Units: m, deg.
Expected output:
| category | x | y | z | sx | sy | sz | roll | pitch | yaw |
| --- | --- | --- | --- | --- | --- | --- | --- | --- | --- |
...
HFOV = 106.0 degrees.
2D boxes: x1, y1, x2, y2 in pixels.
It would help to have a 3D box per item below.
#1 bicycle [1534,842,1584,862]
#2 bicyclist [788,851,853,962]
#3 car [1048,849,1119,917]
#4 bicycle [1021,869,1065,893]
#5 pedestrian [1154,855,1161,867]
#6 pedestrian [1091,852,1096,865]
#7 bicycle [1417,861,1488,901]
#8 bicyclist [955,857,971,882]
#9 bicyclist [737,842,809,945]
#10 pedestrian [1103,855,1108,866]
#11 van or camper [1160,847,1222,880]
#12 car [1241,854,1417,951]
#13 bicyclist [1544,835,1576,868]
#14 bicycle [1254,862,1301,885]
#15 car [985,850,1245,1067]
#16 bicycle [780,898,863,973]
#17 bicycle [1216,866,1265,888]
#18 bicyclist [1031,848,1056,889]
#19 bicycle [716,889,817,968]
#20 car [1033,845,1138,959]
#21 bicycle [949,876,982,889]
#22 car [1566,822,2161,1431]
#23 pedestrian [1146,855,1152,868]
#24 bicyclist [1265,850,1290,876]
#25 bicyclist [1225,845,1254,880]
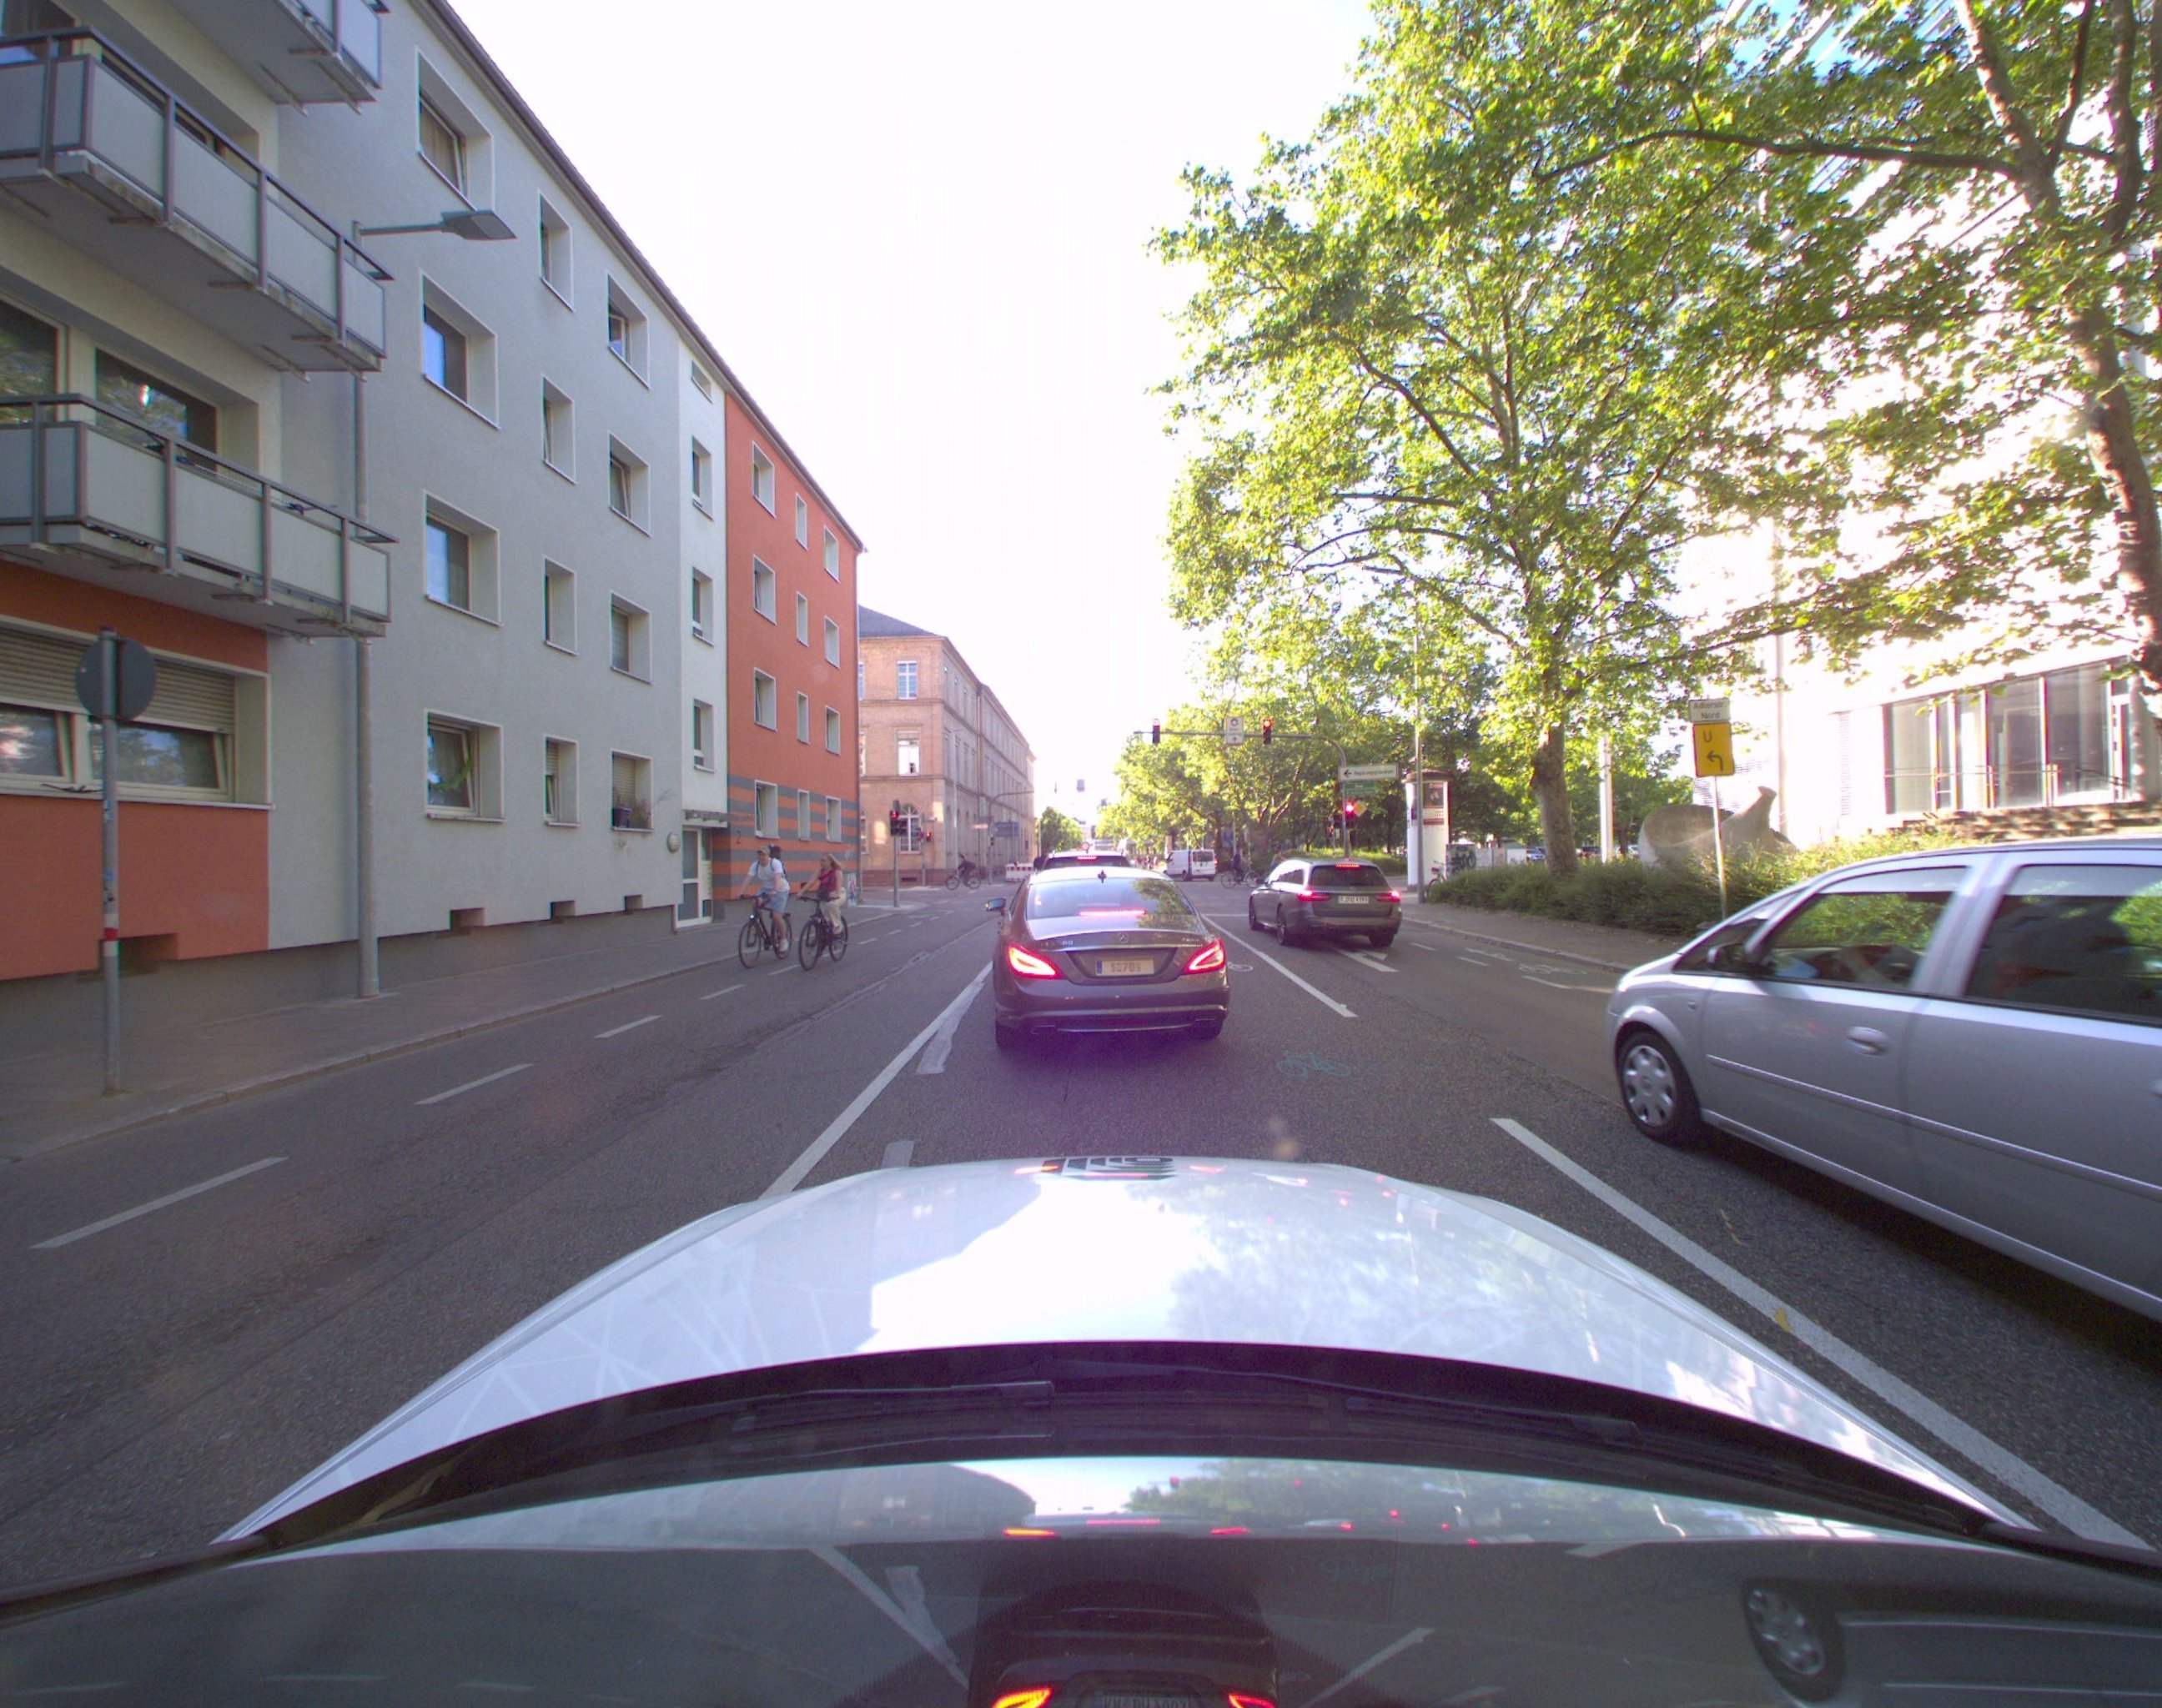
| category | x | y | z | sx | sy | sz | roll | pitch | yaw |
| --- | --- | --- | --- | --- | --- | --- | --- | --- | --- |
| bicycle | 22.391 | -0.090 | 38.172 | 1.884 | 0.882 | 0.726 | 0 | 0 | 5 |
| bicyclist | -3.881 | 0.754 | 12.192 | 0.683 | 1.578 | 0.980 | -1 | 0 | -4 |
| car | 0.129 | 0.764 | 23.393 | 1.813 | 1.762 | 4.002 | -1 | 0 | 2 |
| bicycle | -1.574 | 1.112 | 33.690 | 1.791 | 0.946 | 0.613 | -1 | 0 | -5 |
| pedestrian | 8.696 | 0.796 | 92.678 | 0.646 | 1.433 | 0.659 | -1 | 0 | 1 |
| pedestrian | 1.850 | 0.647 | 124.007 | 0.718 | 1.902 | 0.704 | -1 | 0 | 1 |
| bicycle | 10.713 | 0.773 | 23.498 | 1.796 | 1.097 | 0.510 | -1 | 0 | 4 |
| bicyclist | -5.988 | 0.787 | 41.439 | 0.701 | 1.260 | 0.458 | -1 | 0 | 5 |
| bicyclist | -4.815 | 0.601 | 12.797 | 0.841 | 1.555 | 0.837 | -1 | 0 | -6 |
| pedestrian | 3.531 | 0.893 | 117.435 | 0.799 | 1.576 | 0.845 | -1 | 0 | 1 |
| van or camper | 6.701 | 0.585 | 50.318 | 1.999 | 1.941 | 4.565 | 0 | 0 | -18 |
| car | 4.282 | 0.752 | 14.883 | 1.906 | 1.464 | 4.671 | 1 | 0 | 2 |
| bicyclist | 22.460 | -0.133 | 38.165 | 1.069 | 1.519 | 0.718 | -1 | 0 | 6 |
| bicycle | 8.901 | 0.878 | 36.909 | 1.972 | 1.027 | 0.652 | -1 | 0 | 2 |
| car | 0.059 | 0.716 | 7.794 | 1.801 | 1.456 | 4.342 | -1 | 0 | -5 |
| bicycle | -3.888 | 1.194 | 12.362 | 0.691 | 0.929 | 1.862 | -1 | 0 | -2 |
| bicycle | 6.956 | 0.985 | 35.524 | 1.979 | 0.903 | 0.734 | -1 | 0 | 0 |
| bicyclist | -1.557 | 0.596 | 33.704 | 1.013 | 1.642 | 0.607 | -1 | 0 | -4 |
| bicycle | -4.886 | 1.125 | 12.795 | 0.860 | 1.079 | 1.836 | -1 | 0 | 0 |
| car | 0.062 | 0.707 | 13.828 | 1.513 | 1.647 | 3.879 | -1 | 0 | 0 |
| bicycle | -5.871 | 1.445 | 41.434 | 1.579 | 0.635 | 0.496 | -1 | 0 | 5 |
| car | 3.752 | 0.711 | 3.105 | 1.694 | 1.603 | 3.863 | -1 | 0 | 4 |
| pedestrian | 7.802 | 0.848 | 92.989 | 0.646 | 1.503 | 0.637 | -1 | 0 | 1 |
| bicyclist | 8.899 | 0.401 | 36.913 | 0.987 | 1.154 | 0.621 | -1 | 0 | 3 |
| bicyclist | 6.919 | 0.385 | 35.517 | 1.113 | 1.490 | 0.712 | -1 | 0 | 1 |
